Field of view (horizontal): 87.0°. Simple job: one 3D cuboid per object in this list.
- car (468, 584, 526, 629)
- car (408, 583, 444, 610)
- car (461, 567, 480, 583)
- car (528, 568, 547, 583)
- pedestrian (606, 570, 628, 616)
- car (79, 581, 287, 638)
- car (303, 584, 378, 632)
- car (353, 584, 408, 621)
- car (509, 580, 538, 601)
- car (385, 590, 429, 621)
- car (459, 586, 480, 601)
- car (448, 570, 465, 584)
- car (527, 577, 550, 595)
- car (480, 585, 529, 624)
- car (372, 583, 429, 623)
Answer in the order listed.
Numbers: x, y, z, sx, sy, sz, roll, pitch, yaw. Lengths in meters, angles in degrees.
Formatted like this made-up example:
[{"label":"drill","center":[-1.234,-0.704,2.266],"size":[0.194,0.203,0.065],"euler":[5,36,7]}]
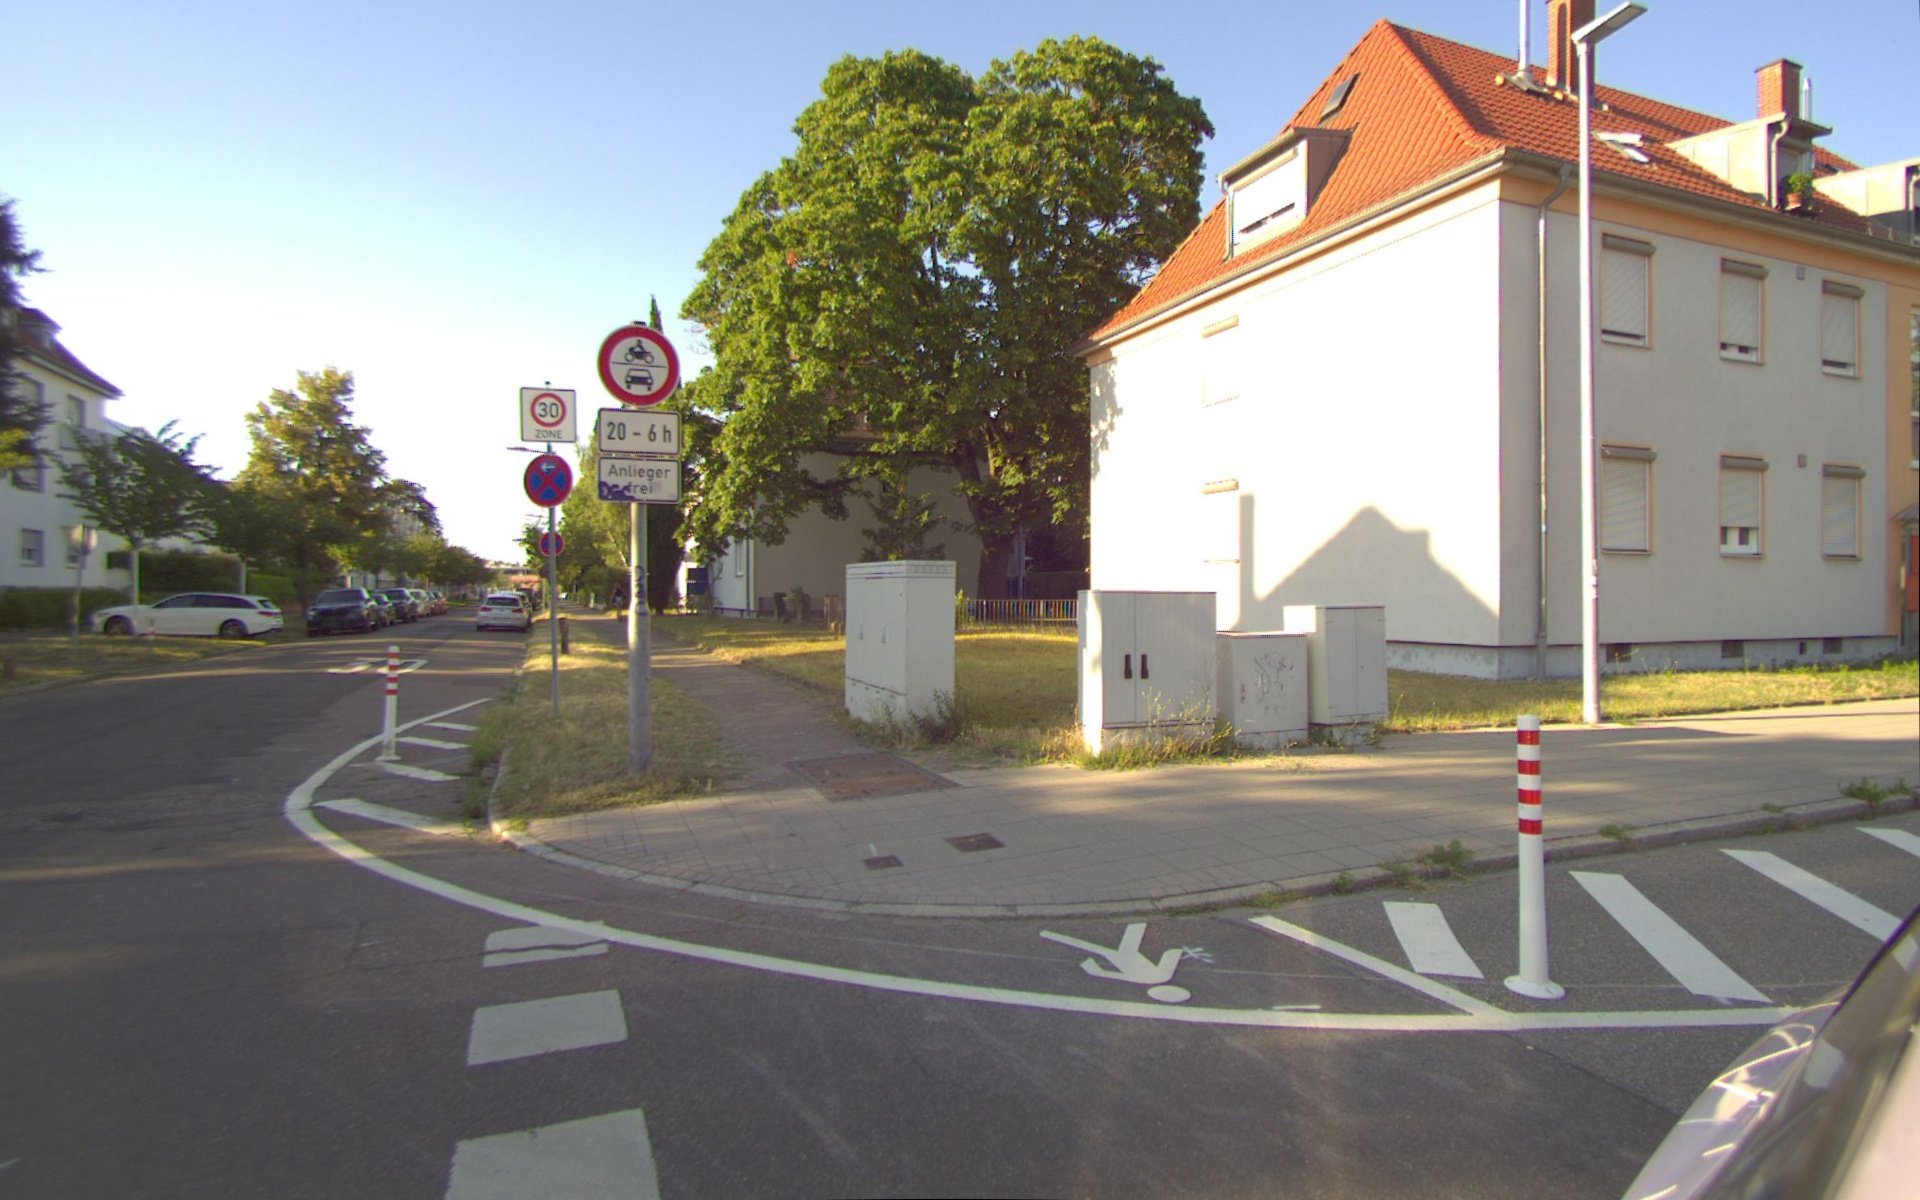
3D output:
[{"label":"car","center":[-18.039,0.191,39.586],"size":[1.931,1.634,4.255],"euler":[-1,1,-23]},{"label":"car","center":[-34.546,-0.257,65.553],"size":[1.931,1.634,4.254],"euler":[-1,1,-26]},{"label":"car","center":[-56.921,-2.864,117.625],"size":[1.931,1.797,4.254],"euler":[-1,1,-26]},{"label":"car","center":[-46.286,-2.670,110.871],"size":[1.931,1.634,4.255],"euler":[-1,1,-23]},{"label":"pedestrian","center":[-15.296,-0.313,45.152],"size":[0.880,2.039,0.694],"euler":[0,0,-22]},{"label":"car","center":[-23.850,0.298,31.328],"size":[4.737,1.634,1.975],"euler":[1,0,-25]},{"label":"car","center":[-22.471,0.240,36.853],"size":[1.931,1.634,4.254],"euler":[-1,1,-26]},{"label":"car","center":[-27.082,0.065,47.410],"size":[1.931,1.634,4.254],"euler":[-1,1,-26]},{"label":"car","center":[-35.206,-0.801,81.569],"size":[1.931,1.634,4.254],"euler":[-1,1,-26]},{"label":"car","center":[-30.963,0.270,56.763],"size":[1.931,1.634,4.254],"euler":[-1,1,-26]},{"label":"car","center":[-53.811,-0.714,111.073],"size":[1.931,1.634,4.255],"euler":[-1,1,-25]},{"label":"car","center":[-64.478,-2.968,129.582],"size":[1.931,1.797,4.254],"euler":[-1,1,-26]},{"label":"car","center":[-40.017,-1.313,96.120],"size":[1.931,1.634,4.255],"euler":[-1,1,-23]},{"label":"car","center":[-20.470,0.145,45.613],"size":[1.931,1.634,4.255],"euler":[-1,1,-23]},{"label":"car","center":[-23.950,0.088,43.434],"size":[1.931,1.634,4.254],"euler":[-1,1,-26]}]
